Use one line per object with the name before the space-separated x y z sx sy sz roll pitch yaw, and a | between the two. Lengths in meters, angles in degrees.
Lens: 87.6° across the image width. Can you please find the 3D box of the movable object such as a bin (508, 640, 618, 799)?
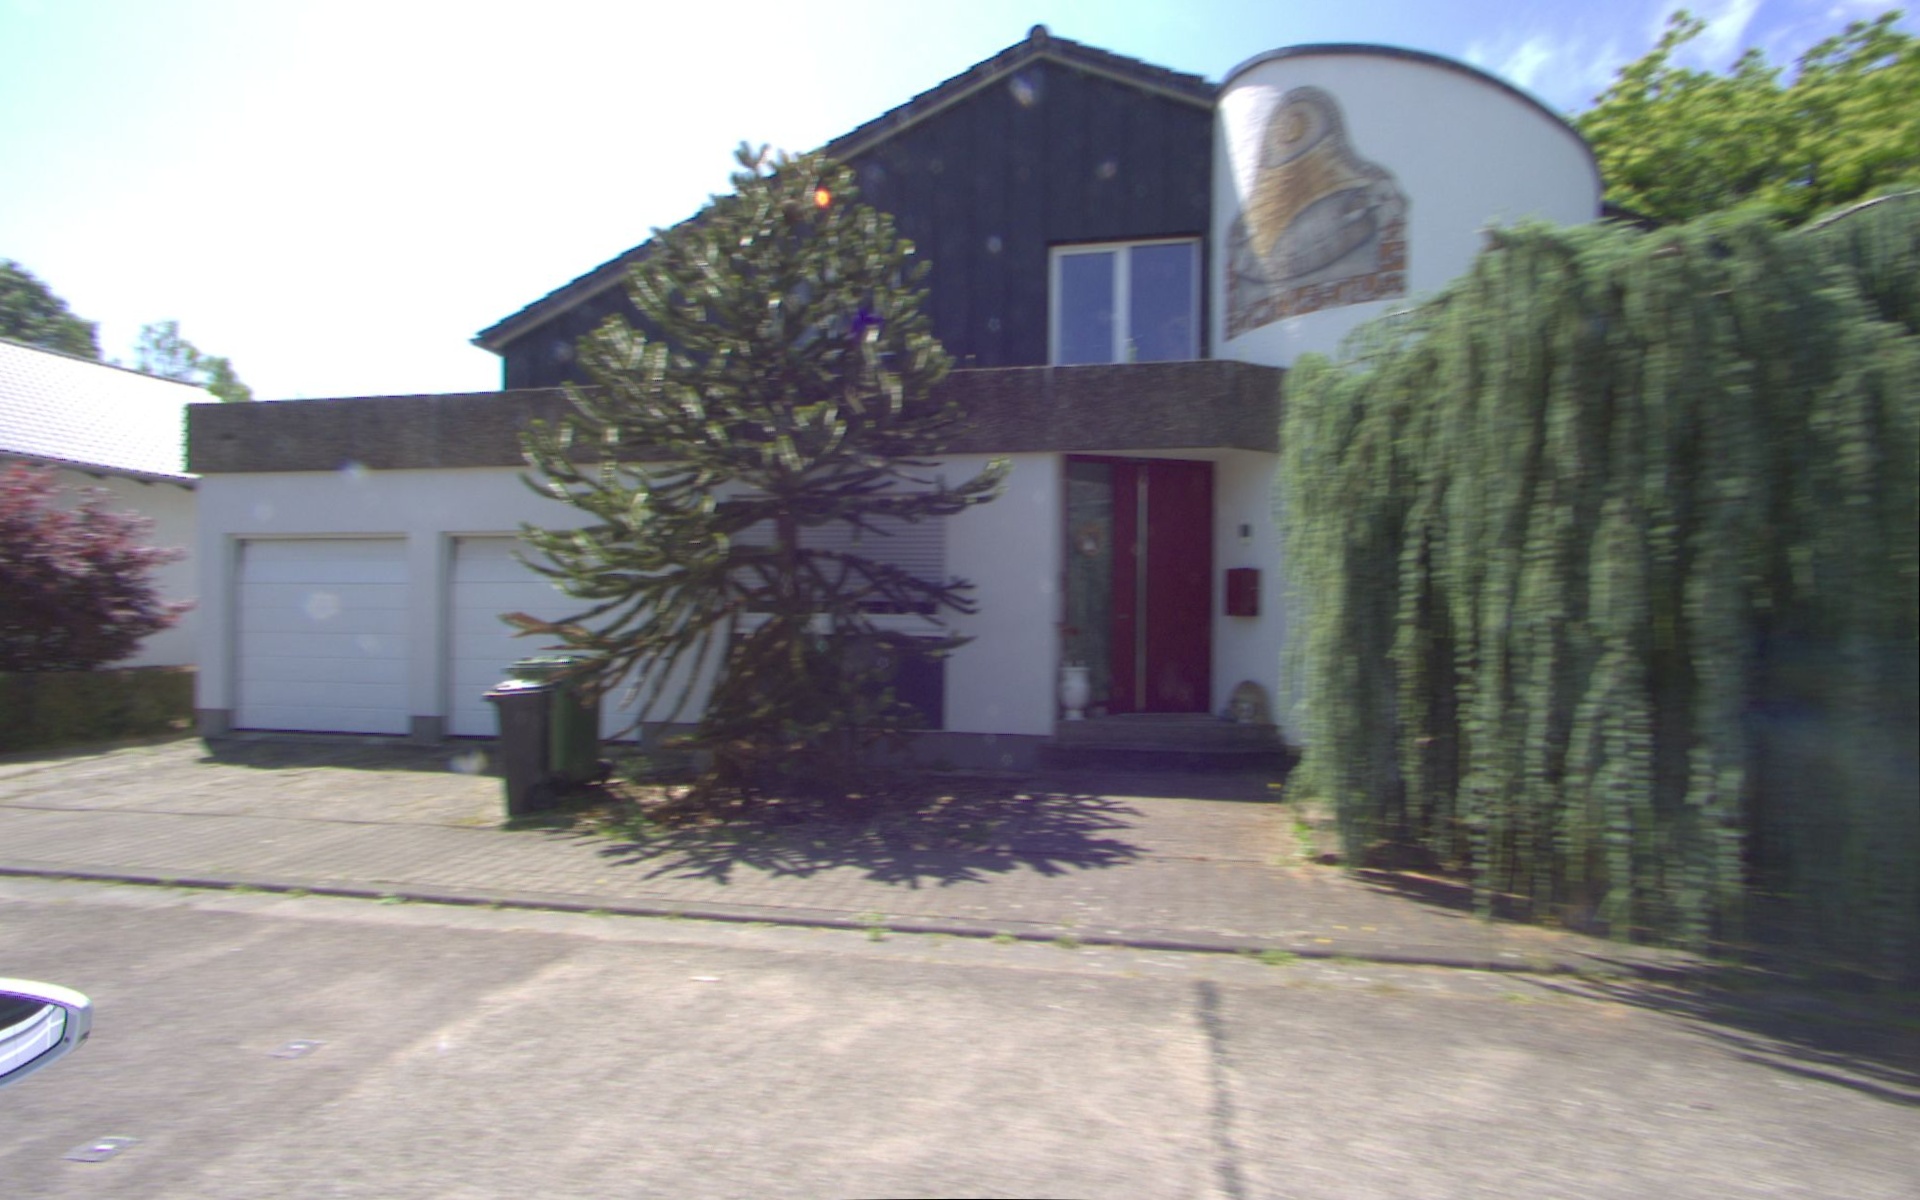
movable object such as a bin | -3.220 0.949 8.150 0.622 1.219 0.551 1 0 12

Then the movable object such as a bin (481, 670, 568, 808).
movable object such as a bin | -3.189 1.003 7.360 0.514 0.962 0.389 1 0 -15
